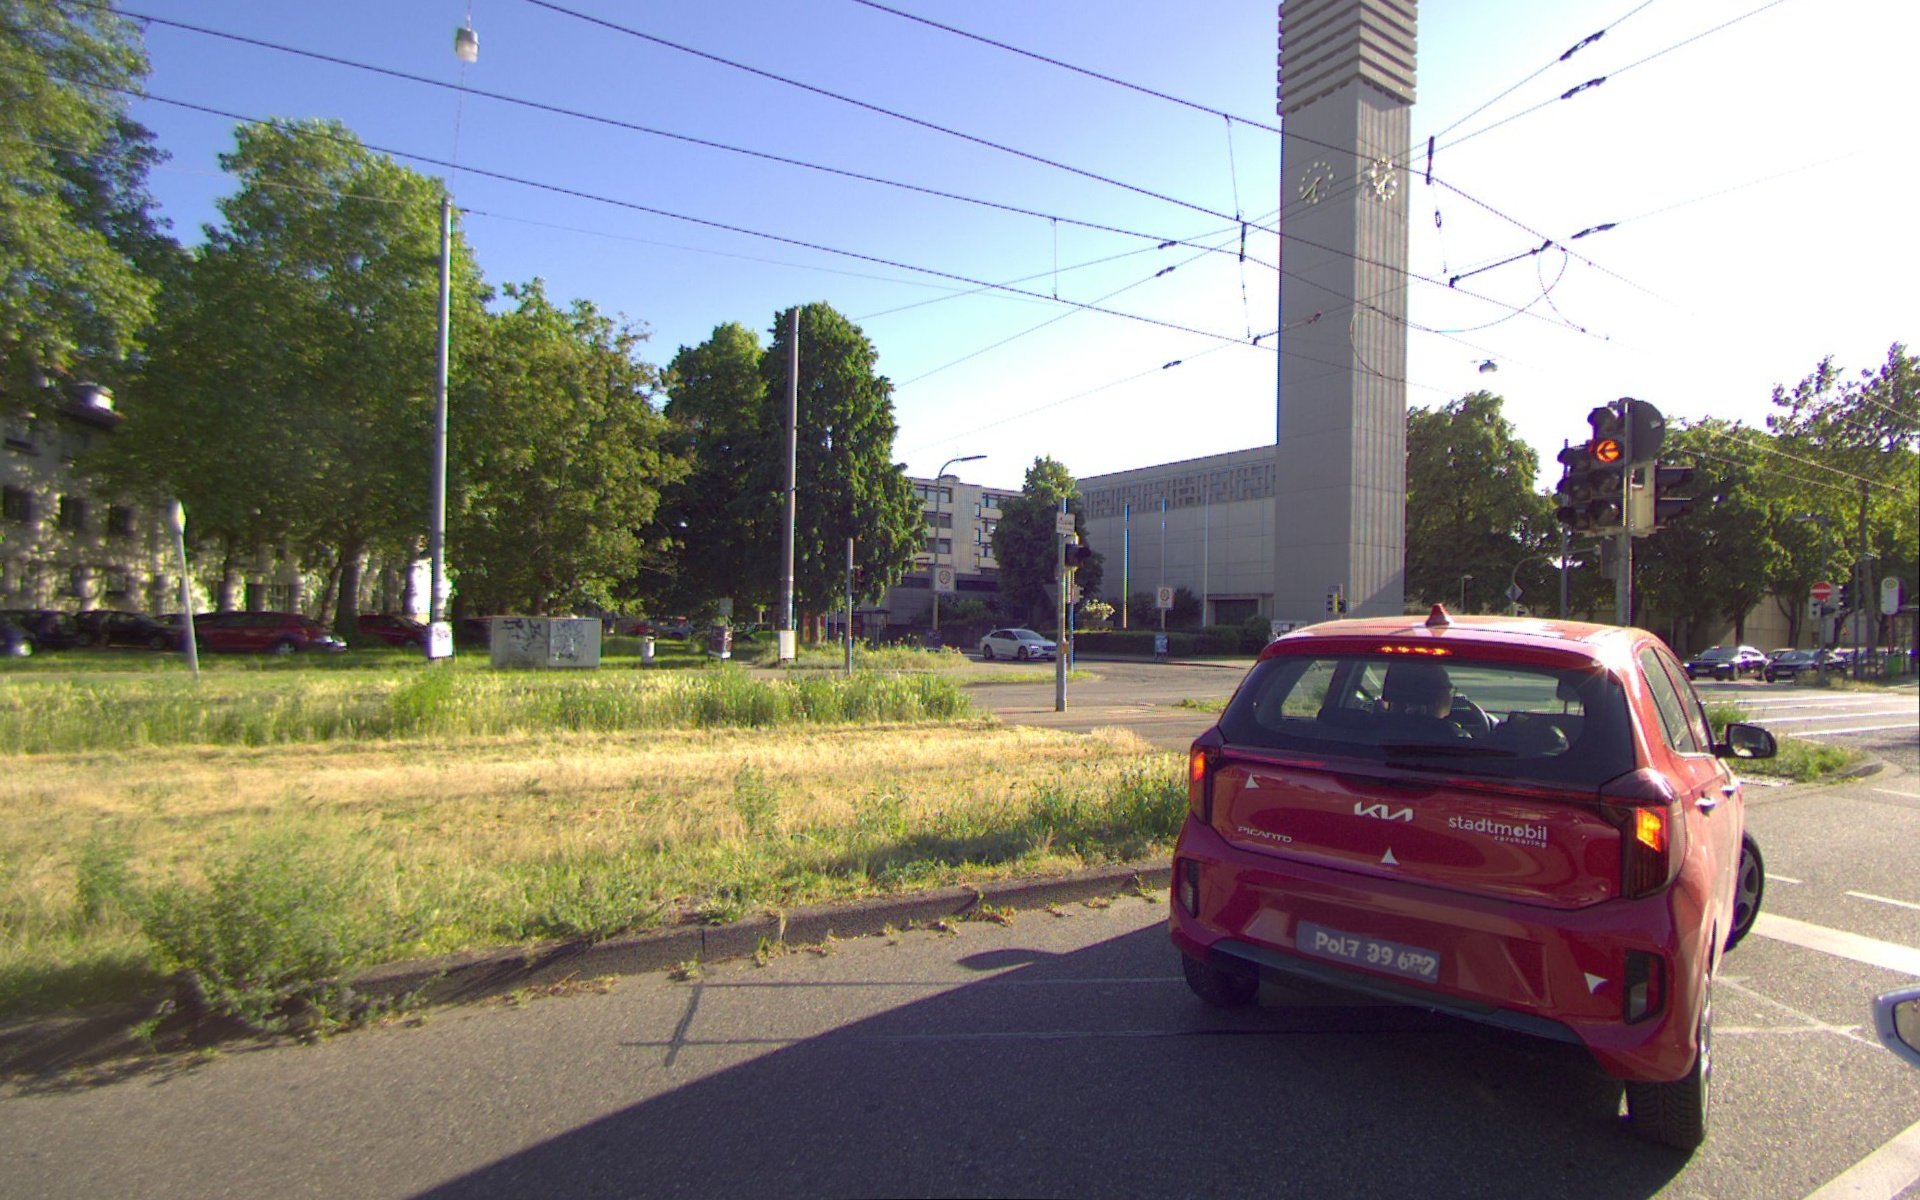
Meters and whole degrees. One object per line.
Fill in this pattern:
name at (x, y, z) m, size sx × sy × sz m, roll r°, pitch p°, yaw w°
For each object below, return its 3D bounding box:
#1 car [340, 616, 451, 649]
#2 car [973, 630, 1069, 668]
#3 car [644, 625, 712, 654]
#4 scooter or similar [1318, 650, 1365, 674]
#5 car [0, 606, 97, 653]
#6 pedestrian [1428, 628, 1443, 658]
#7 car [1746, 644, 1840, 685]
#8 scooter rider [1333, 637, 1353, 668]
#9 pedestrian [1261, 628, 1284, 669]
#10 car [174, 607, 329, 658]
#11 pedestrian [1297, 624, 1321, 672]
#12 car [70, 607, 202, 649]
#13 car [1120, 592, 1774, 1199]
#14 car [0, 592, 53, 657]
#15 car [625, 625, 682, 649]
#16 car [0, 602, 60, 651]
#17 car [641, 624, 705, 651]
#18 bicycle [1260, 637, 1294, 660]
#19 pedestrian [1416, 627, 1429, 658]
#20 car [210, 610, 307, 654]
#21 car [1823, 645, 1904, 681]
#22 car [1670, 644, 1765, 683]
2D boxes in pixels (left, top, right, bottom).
car at (-24.682, 1.412, 44.072) m, size 3.932 × 1.400 × 1.581 m, roll 1°, pitch -1°, yaw -14°
car at (2.780, 2.269, 46.989) m, size 1.981 × 1.420 × 4.671 m, roll 2°, pitch 1°, yaw -35°
car at (-18.255, 2.544, 65.098) m, size 3.953 × 1.795 × 1.659 m, roll 2°, pitch -2°, yaw -30°
scooter or similar at (15.628, 2.536, 41.212) m, size 1.716 × 0.911 × 0.560 m, roll 0°, pitch -2°, yaw 45°
car at (-34.811, 1.082, 37.092) m, size 3.929 × 1.635 × 1.879 m, roll 2°, pitch -3°, yaw -11°
pedestrian at (24.643, 2.246, 52.081) m, size 0.483 × 1.527 × 0.432 m, roll 2°, pitch 1°, yaw -34°
car at (34.659, 2.669, 41.779) m, size 4.310 × 1.553 × 1.679 m, roll 2°, pitch -2°, yaw -31°
scooter rider at (15.691, 2.161, 41.177) m, size 0.520 × 1.234 × 0.584 m, roll 3°, pitch 1°, yaw 44°
pedestrian at (13.299, 2.056, 42.785) m, size 0.735 × 1.689 × 0.442 m, roll 2°, pitch 1°, yaw -21°
car at (-22.385, 1.016, 31.866) m, size 3.586 × 1.399 × 1.641 m, roll 2°, pitch 1°, yaw -13°
pedestrian at (14.375, 1.979, 41.385) m, size 0.735 × 1.941 × 0.417 m, roll 2°, pitch 1°, yaw -21°
car at (-36.590, 1.280, 44.725) m, size 3.989 × 1.686 × 1.997 m, roll 2°, pitch -3°, yaw -11°
car at (2.374, 0.804, 4.304) m, size 1.674 × 1.528 × 3.682 m, roll 2°, pitch 0°, yaw 39°
car at (-24.722, 0.596, 24.712) m, size 1.719 × 1.622 × 3.992 m, roll 1°, pitch -1°, yaw -12°
car at (-23.788, 2.859, 77.966) m, size 3.953 × 1.795 × 1.659 m, roll 2°, pitch -2°, yaw -30°
car at (-33.909, 0.872, 34.499) m, size 3.929 × 1.635 × 1.879 m, roll 2°, pitch -3°, yaw -11°
car at (-19.831, 2.586, 69.356) m, size 3.953 × 1.795 × 1.659 m, roll 2°, pitch -2°, yaw -30°
bicycle at (15.549, 2.388, 49.270) m, size 1.659 × 1.060 × 0.489 m, roll 2°, pitch 1°, yaw -23°
pedestrian at (24.188, 2.214, 52.536) m, size 0.302 × 1.581 × 0.432 m, roll 2°, pitch 1°, yaw -34°
car at (-28.297, 1.276, 40.664) m, size 1.719 × 1.706 × 3.992 m, roll 1°, pitch -1°, yaw -12°
car at (40.154, 2.793, 44.633) m, size 3.870 × 1.421 × 1.558 m, roll 2°, pitch 1°, yaw -31°
car at (32.780, 2.737, 43.442) m, size 4.310 × 1.553 × 1.798 m, roll 2°, pitch -2°, yaw -31°
